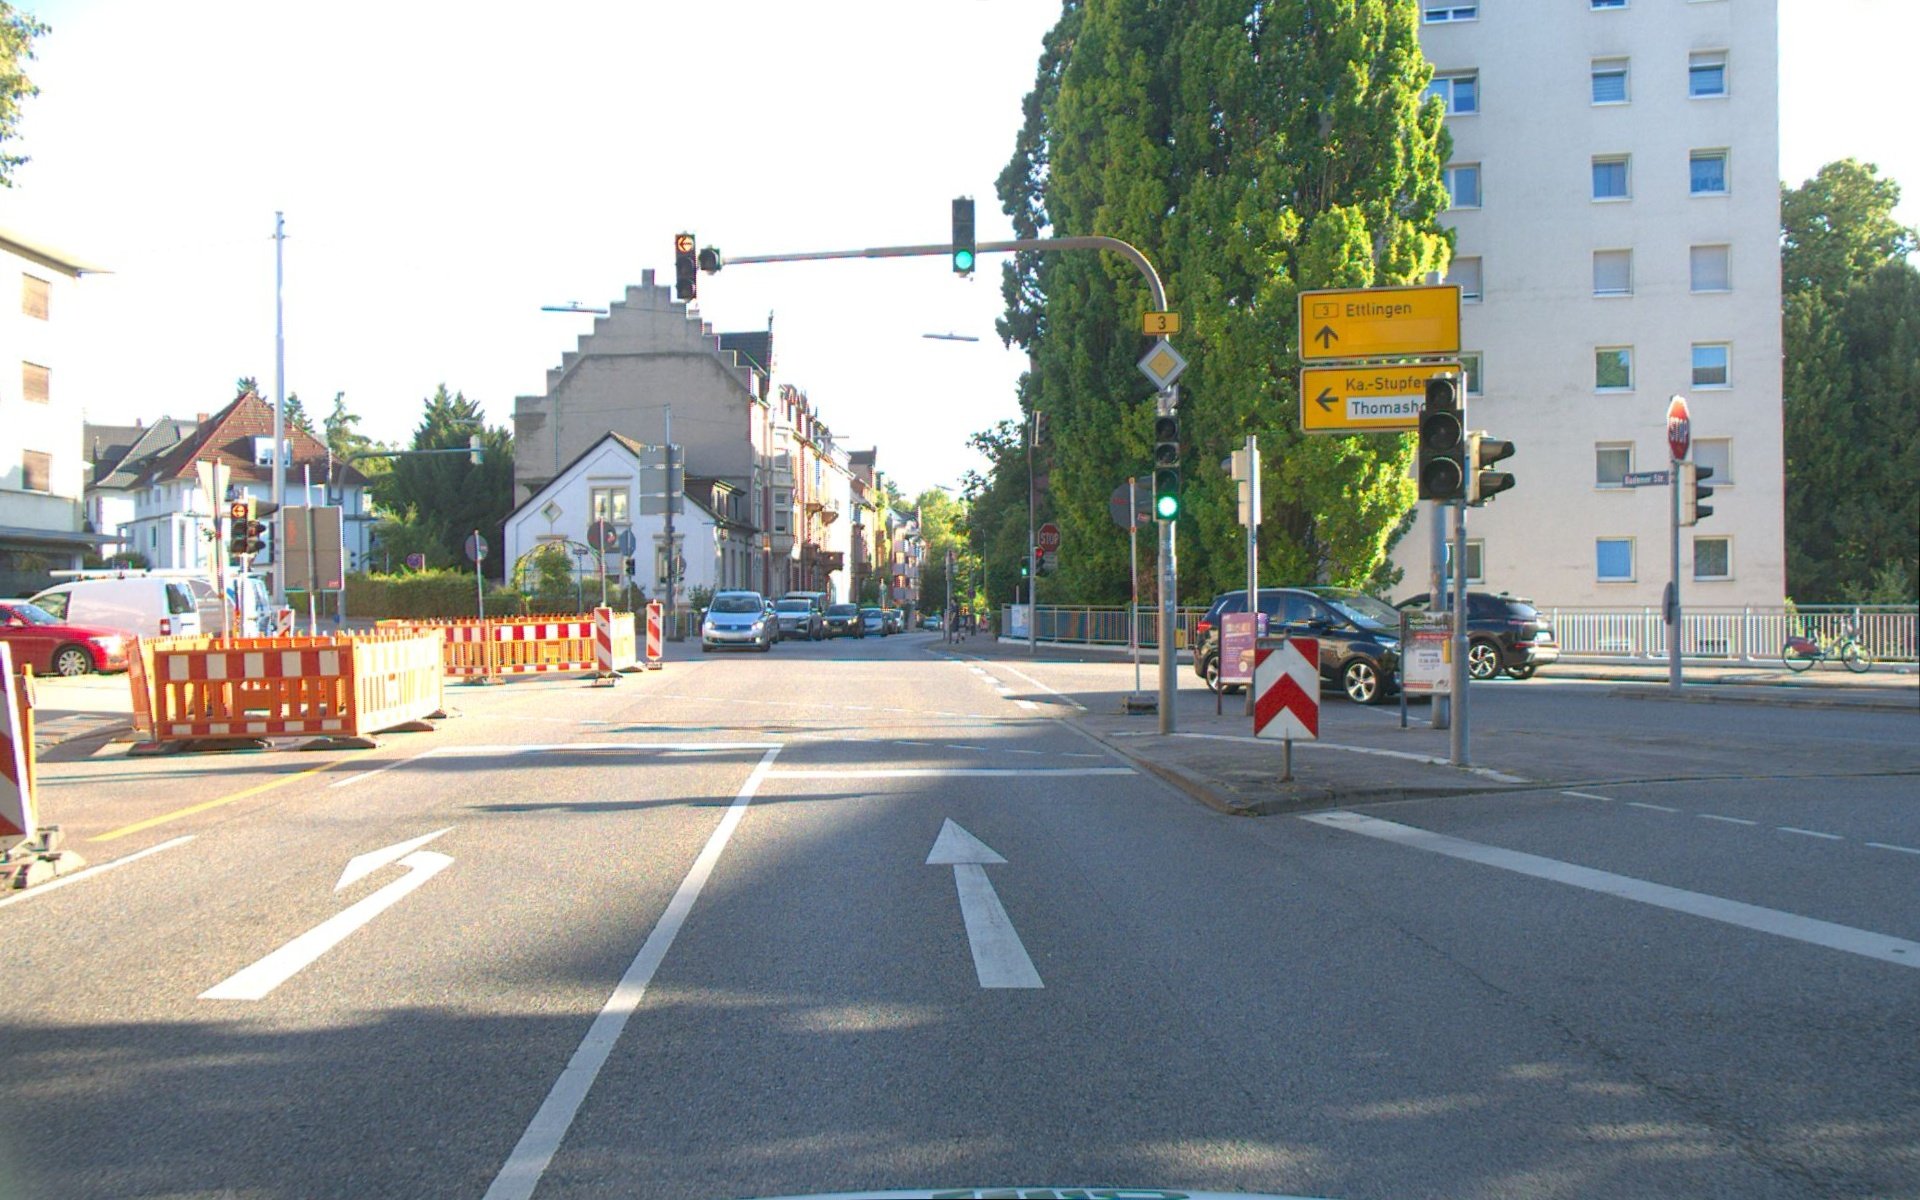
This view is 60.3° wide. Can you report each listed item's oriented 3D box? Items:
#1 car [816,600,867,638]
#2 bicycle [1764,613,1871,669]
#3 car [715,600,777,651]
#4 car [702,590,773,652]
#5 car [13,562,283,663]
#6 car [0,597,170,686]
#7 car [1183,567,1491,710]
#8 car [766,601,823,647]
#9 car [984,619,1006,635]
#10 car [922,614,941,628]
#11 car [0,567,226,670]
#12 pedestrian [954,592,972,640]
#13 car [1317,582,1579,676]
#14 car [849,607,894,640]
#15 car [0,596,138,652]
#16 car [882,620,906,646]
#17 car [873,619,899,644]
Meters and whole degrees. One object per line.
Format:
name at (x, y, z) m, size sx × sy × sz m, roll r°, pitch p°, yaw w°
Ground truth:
car at (-5.568, 0.889, 78.129) m, size 1.913 × 1.677 × 4.285 m, roll 1°, pitch 1°, yaw 2°
bicycle at (17.753, 0.835, 34.275) m, size 1.887 × 1.087 × 0.613 m, roll 1°, pitch 1°, yaw 39°
car at (-6.824, 0.789, 53.130) m, size 1.741 × 1.506 × 4.093 m, roll 1°, pitch 1°, yaw -4°
car at (-6.053, 0.528, 44.630) m, size 1.743 × 1.570 × 3.991 m, roll 1°, pitch 1°, yaw -10°
car at (-16.969, 0.246, 34.766) m, size 4.574 × 1.999 × 2.116 m, roll 1°, pitch 0°, yaw -4°
car at (-16.588, 0.718, 29.619) m, size 3.913 × 1.505 × 1.998 m, roll 0°, pitch 0°, yaw -6°
car at (5.513, 0.473, 24.619) m, size 1.979 × 1.847 × 4.196 m, roll -4°, pitch 3°, yaw -37°
car at (-6.465, 0.923, 65.035) m, size 1.739 × 1.677 × 4.534 m, roll 1°, pitch 1°, yaw 0°
car at (3.532, 2.707, 166.281) m, size 1.952 × 1.544 × 4.002 m, roll -1°, pitch 0°, yaw 4°
car at (-3.432, 2.564, 198.977) m, size 1.952 × 1.517 × 4.472 m, roll -1°, pitch 1°, yaw 2°
car at (-16.834, 0.335, 32.105) m, size 4.224 × 1.884 × 2.000 m, roll 1°, pitch 0°, yaw 1°
pedestrian at (0.110, 0.577, 60.209) m, size 0.590 × 1.722 × 0.612 m, roll -1°, pitch 0°, yaw 1°
car at (9.598, 0.558, 32.764) m, size 4.584 × 1.699 × 1.986 m, roll 0°, pitch -3°, yaw 44°
car at (-4.909, 1.285, 92.285) m, size 1.912 × 1.677 × 4.286 m, roll 1°, pitch 1°, yaw 6°
car at (-25.302, 0.647, 45.781) m, size 4.221 × 1.423 × 2.002 m, roll 1°, pitch 1°, yaw 12°
car at (-5.492, 2.735, 138.108) m, size 1.756 × 2.045 × 4.698 m, roll 1°, pitch 0°, yaw 1°
car at (-5.651, 2.398, 126.571) m, size 1.667 × 1.769 × 3.857 m, roll 1°, pitch 0°, yaw 1°
